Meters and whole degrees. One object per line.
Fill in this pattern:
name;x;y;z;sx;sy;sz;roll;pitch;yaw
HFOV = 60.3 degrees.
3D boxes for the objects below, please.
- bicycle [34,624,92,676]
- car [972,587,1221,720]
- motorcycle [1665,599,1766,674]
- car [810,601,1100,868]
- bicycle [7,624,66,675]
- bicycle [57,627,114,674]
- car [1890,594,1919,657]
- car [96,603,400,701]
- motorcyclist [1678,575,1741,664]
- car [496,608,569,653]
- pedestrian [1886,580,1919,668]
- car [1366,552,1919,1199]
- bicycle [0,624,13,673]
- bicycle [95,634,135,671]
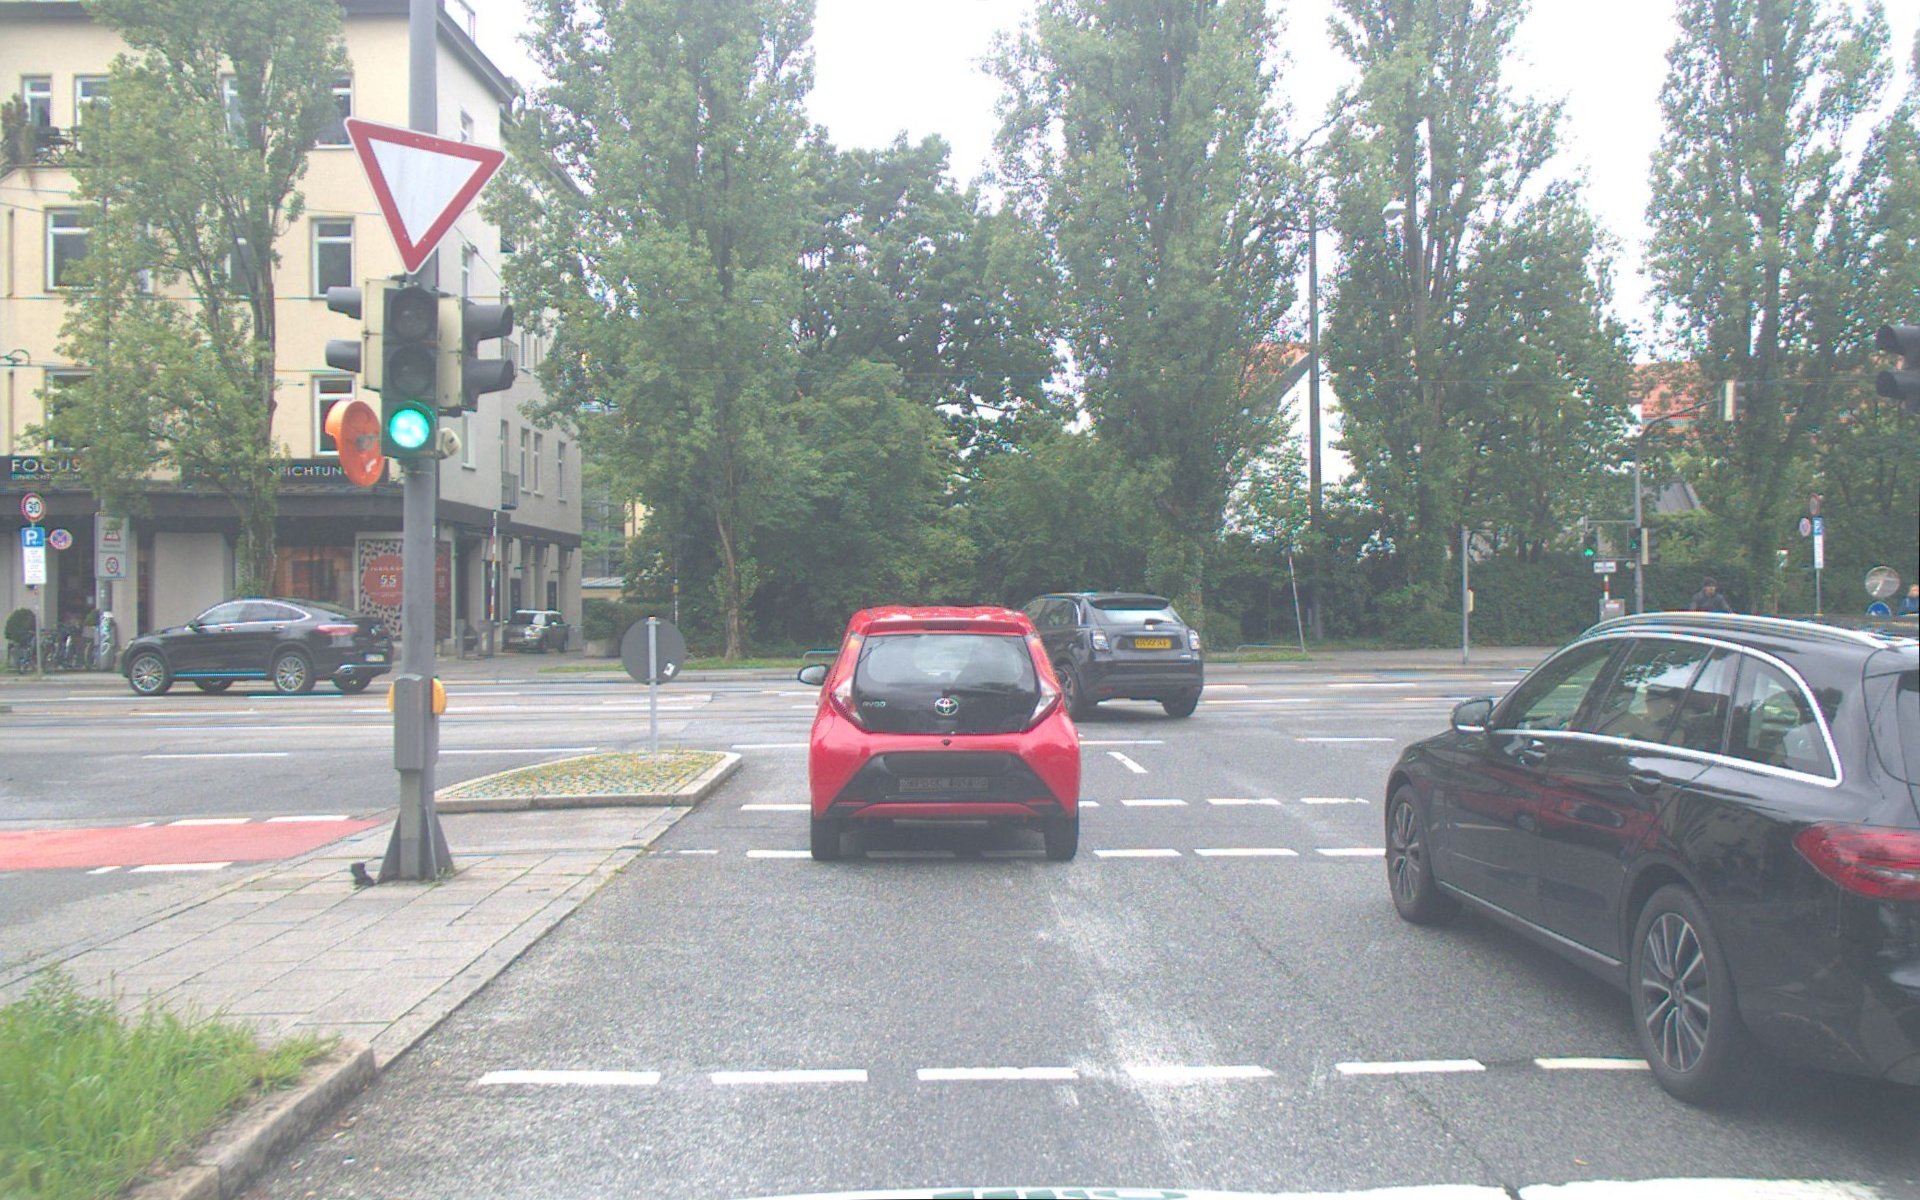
bicycle;-21.940;1.207;40.488;0.485;1.206;1.888;-1;0;-3
car;1.632;0.640;21.250;1.754;1.512;3.978;-1;-1;-19
motorcycle;12.621;0.604;27.692;0.616;1.190;2.027;1;-1;-5
car;-0.009;0.750;10.869;1.595;1.465;3.376;-1;0;1
bicycle;-22.628;1.195;40.551;0.485;1.206;1.888;-1;0;-3
bicycle;-21.426;1.226;40.550;0.485;1.100;1.888;-1;0;-3
car;25.189;0.588;40.139;4.251;1.512;1.786;-1;-1;-3
car;-12.096;0.867;28.227;4.464;1.576;1.743;-1;0;6
motorcyclist;12.630;0.334;27.878;0.606;1.468;0.881;1;-1;-4
car;-14.543;1.013;56.442;1.691;1.467;3.997;-1;0;-4
pedestrian;18.553;0.467;32.352;0.689;1.692;0.549;0;-2;39
car;3.066;0.698;6.331;1.825;1.576;4.703;1;0;0
bicycle;-23.956;1.194;40.534;0.485;1.206;1.888;-1;0;-3
bicycle;-21.583;1.336;42.276;0.380;0.899;1.370;-1;0;-3
